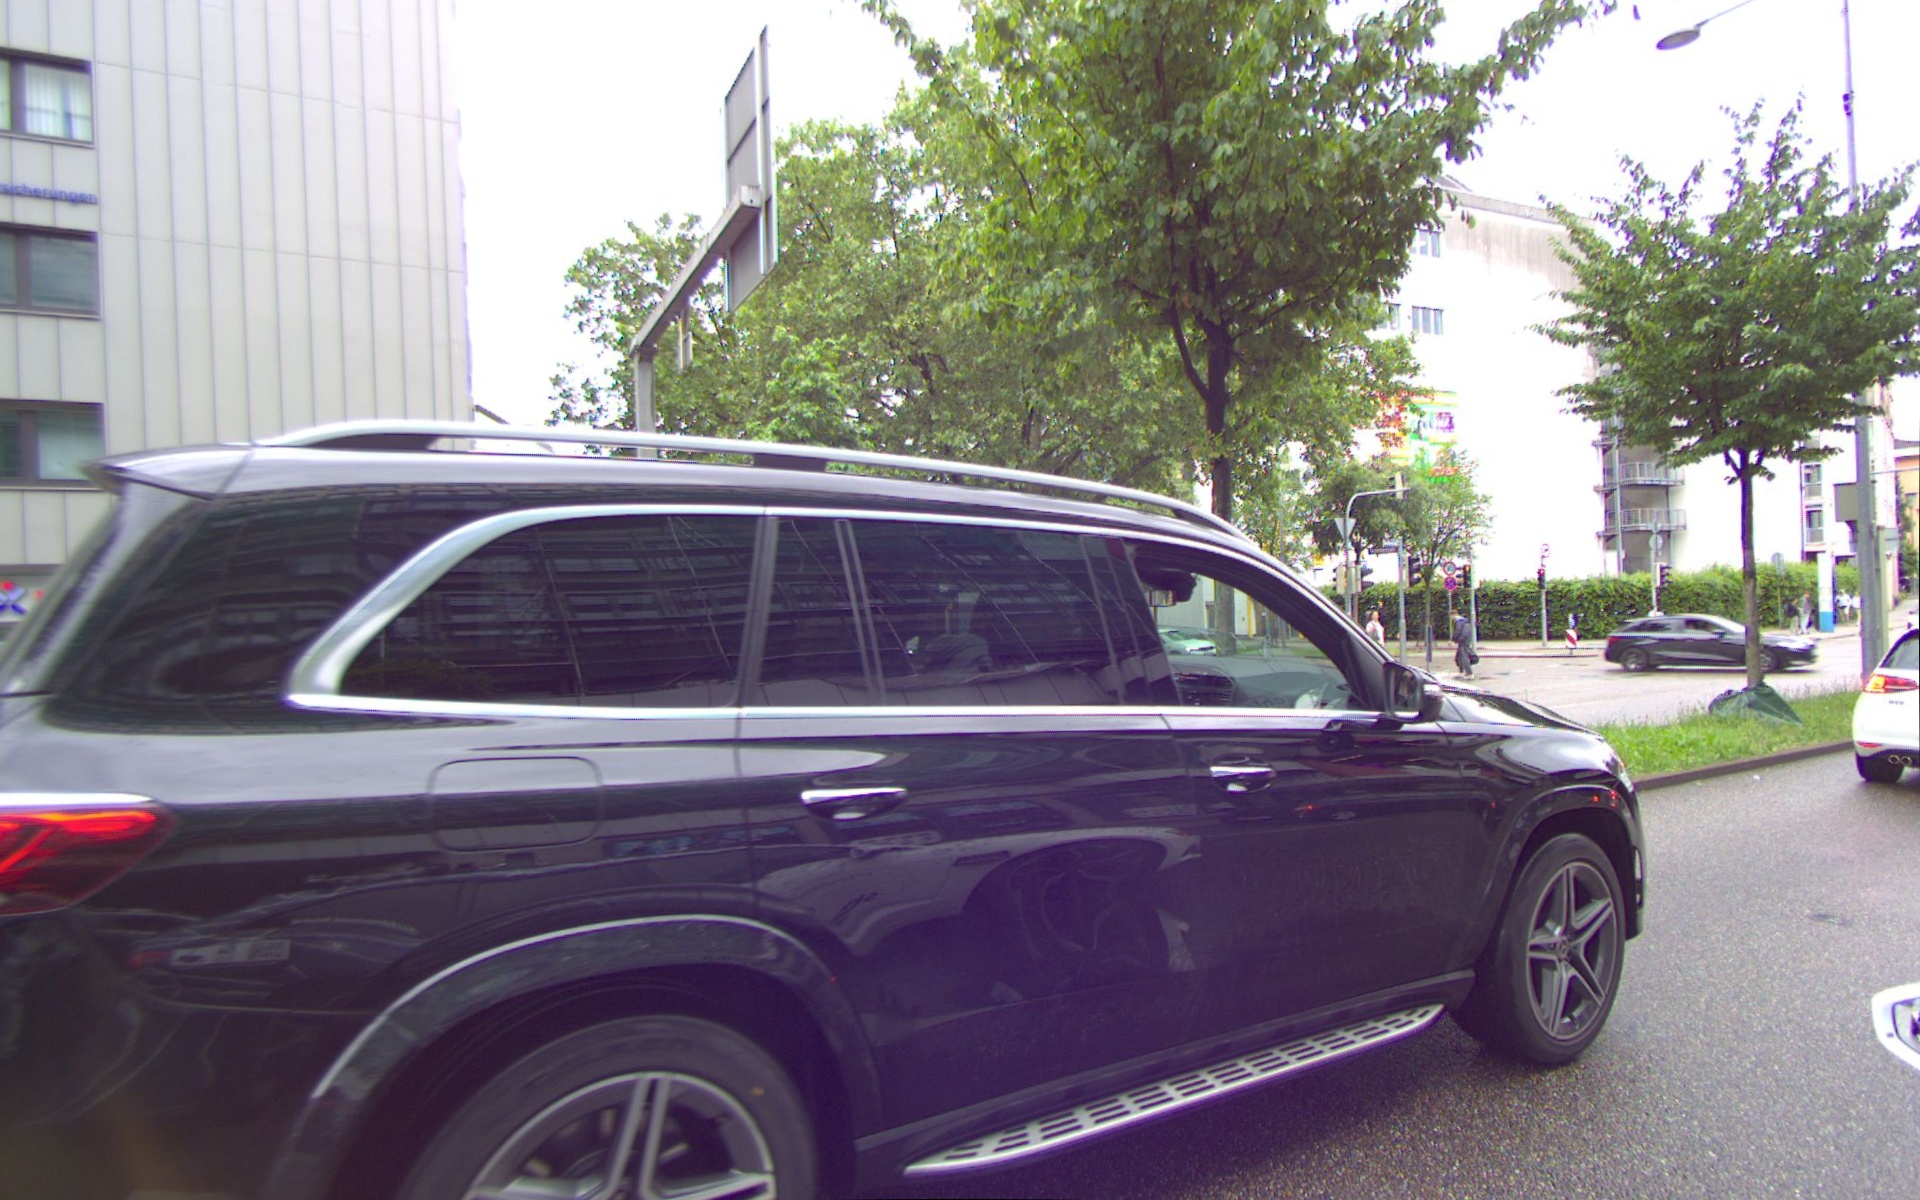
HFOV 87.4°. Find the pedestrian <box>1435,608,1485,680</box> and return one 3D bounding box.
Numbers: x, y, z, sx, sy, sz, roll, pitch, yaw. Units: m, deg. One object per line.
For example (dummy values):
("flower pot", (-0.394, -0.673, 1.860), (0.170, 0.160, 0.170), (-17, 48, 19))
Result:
("pedestrian", (13.015, 1.136, 26.152), (0.702, 1.807, 0.917), (2, -1, -35))

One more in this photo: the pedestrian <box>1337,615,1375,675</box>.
("pedestrian", (11.337, 1.276, 28.745), (0.620, 1.684, 0.749), (-2, 0, -30))

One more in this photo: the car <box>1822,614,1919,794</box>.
("car", (9.529, 0.863, 8.962), (3.800, 1.448, 1.768), (0, 0, -32))

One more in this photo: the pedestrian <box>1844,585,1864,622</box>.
("pedestrian", (43.509, 0.172, 48.902), (0.651, 1.751, 0.591), (2, -1, -38))

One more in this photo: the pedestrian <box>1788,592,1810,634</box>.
("pedestrian", (35.920, 0.541, 43.003), (0.559, 1.771, 0.535), (2, -1, -35))

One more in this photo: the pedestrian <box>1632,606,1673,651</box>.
("pedestrian", (25.746, 1.059, 37.350), (0.677, 1.599, 1.055), (2, -1, -34))

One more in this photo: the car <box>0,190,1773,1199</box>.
("car", (0.237, 0.519, 3.162), (5.013, 1.895, 1.902), (2, -1, -30))

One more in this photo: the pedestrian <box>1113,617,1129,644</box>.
("pedestrian", (10.090, 1.934, 63.006), (0.723, 1.664, 0.635), (2, 0, -23))

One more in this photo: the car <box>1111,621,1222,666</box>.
("car", (7.920, 1.640, 38.800), (1.622, 1.506, 4.263), (0, 1, -35))

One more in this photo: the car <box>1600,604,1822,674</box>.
("car", (18.742, 0.958, 25.221), (1.690, 1.586, 4.193), (1, -2, -40))

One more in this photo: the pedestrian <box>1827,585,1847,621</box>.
("pedestrian", (43.102, 0.164, 49.379), (0.651, 1.751, 0.591), (2, -1, -38))

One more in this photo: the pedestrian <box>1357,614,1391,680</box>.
("pedestrian", (10.853, 1.219, 26.333), (0.572, 1.684, 0.554), (-2, 0, -30))

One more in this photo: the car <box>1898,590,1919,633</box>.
("car", (34.904, 0.389, 35.643), (3.571, 1.506, 1.565), (0, 1, -33))

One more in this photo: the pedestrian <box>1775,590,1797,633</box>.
("pedestrian", (34.697, 0.487, 42.170), (0.741, 1.771, 0.535), (2, -1, -38))

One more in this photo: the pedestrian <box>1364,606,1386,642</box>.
("pedestrian", (19.749, 1.151, 47.818), (0.633, 1.664, 0.726), (2, -1, -37))

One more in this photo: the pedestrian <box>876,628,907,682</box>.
("pedestrian", (-2.244, 1.798, 32.794), (0.719, 1.719, 0.782), (2, -3, -35))

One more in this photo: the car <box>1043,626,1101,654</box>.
("car", (6.395, 2.296, 57.728), (1.765, 1.474, 4.049), (-2, -2, -18))
